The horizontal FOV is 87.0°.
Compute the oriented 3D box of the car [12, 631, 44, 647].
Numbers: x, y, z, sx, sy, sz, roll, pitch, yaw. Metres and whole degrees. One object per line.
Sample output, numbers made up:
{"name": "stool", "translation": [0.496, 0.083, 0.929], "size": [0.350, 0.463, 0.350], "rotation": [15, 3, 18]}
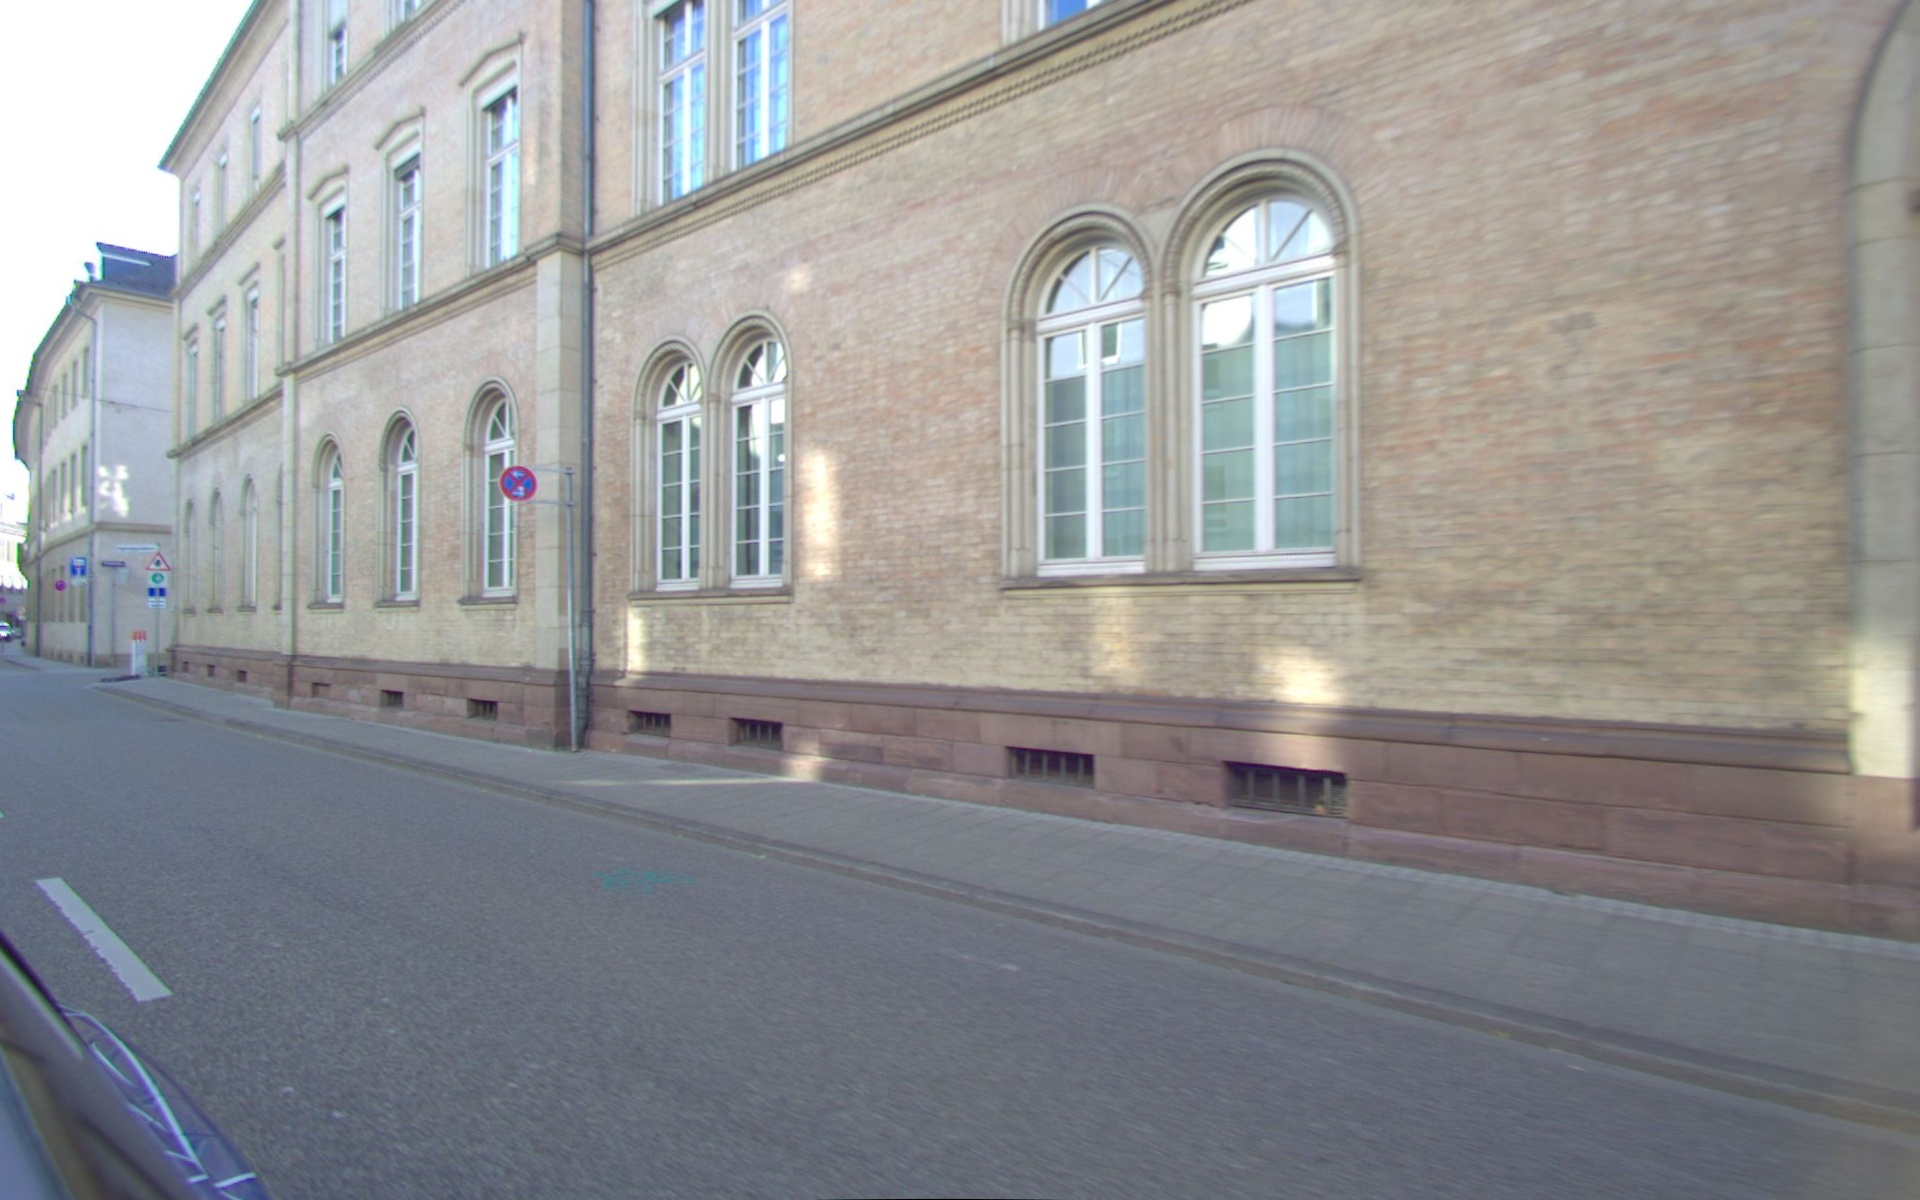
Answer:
{"name": "car", "translation": [-104.983, 4.372, 113.984], "size": [1.747, 1.595, 3.868], "rotation": [-4, 1, -30]}

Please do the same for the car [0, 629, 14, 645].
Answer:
{"name": "car", "translation": [-100.084, 3.894, 105.147], "size": [1.747, 1.595, 3.868], "rotation": [-4, 1, -31]}
